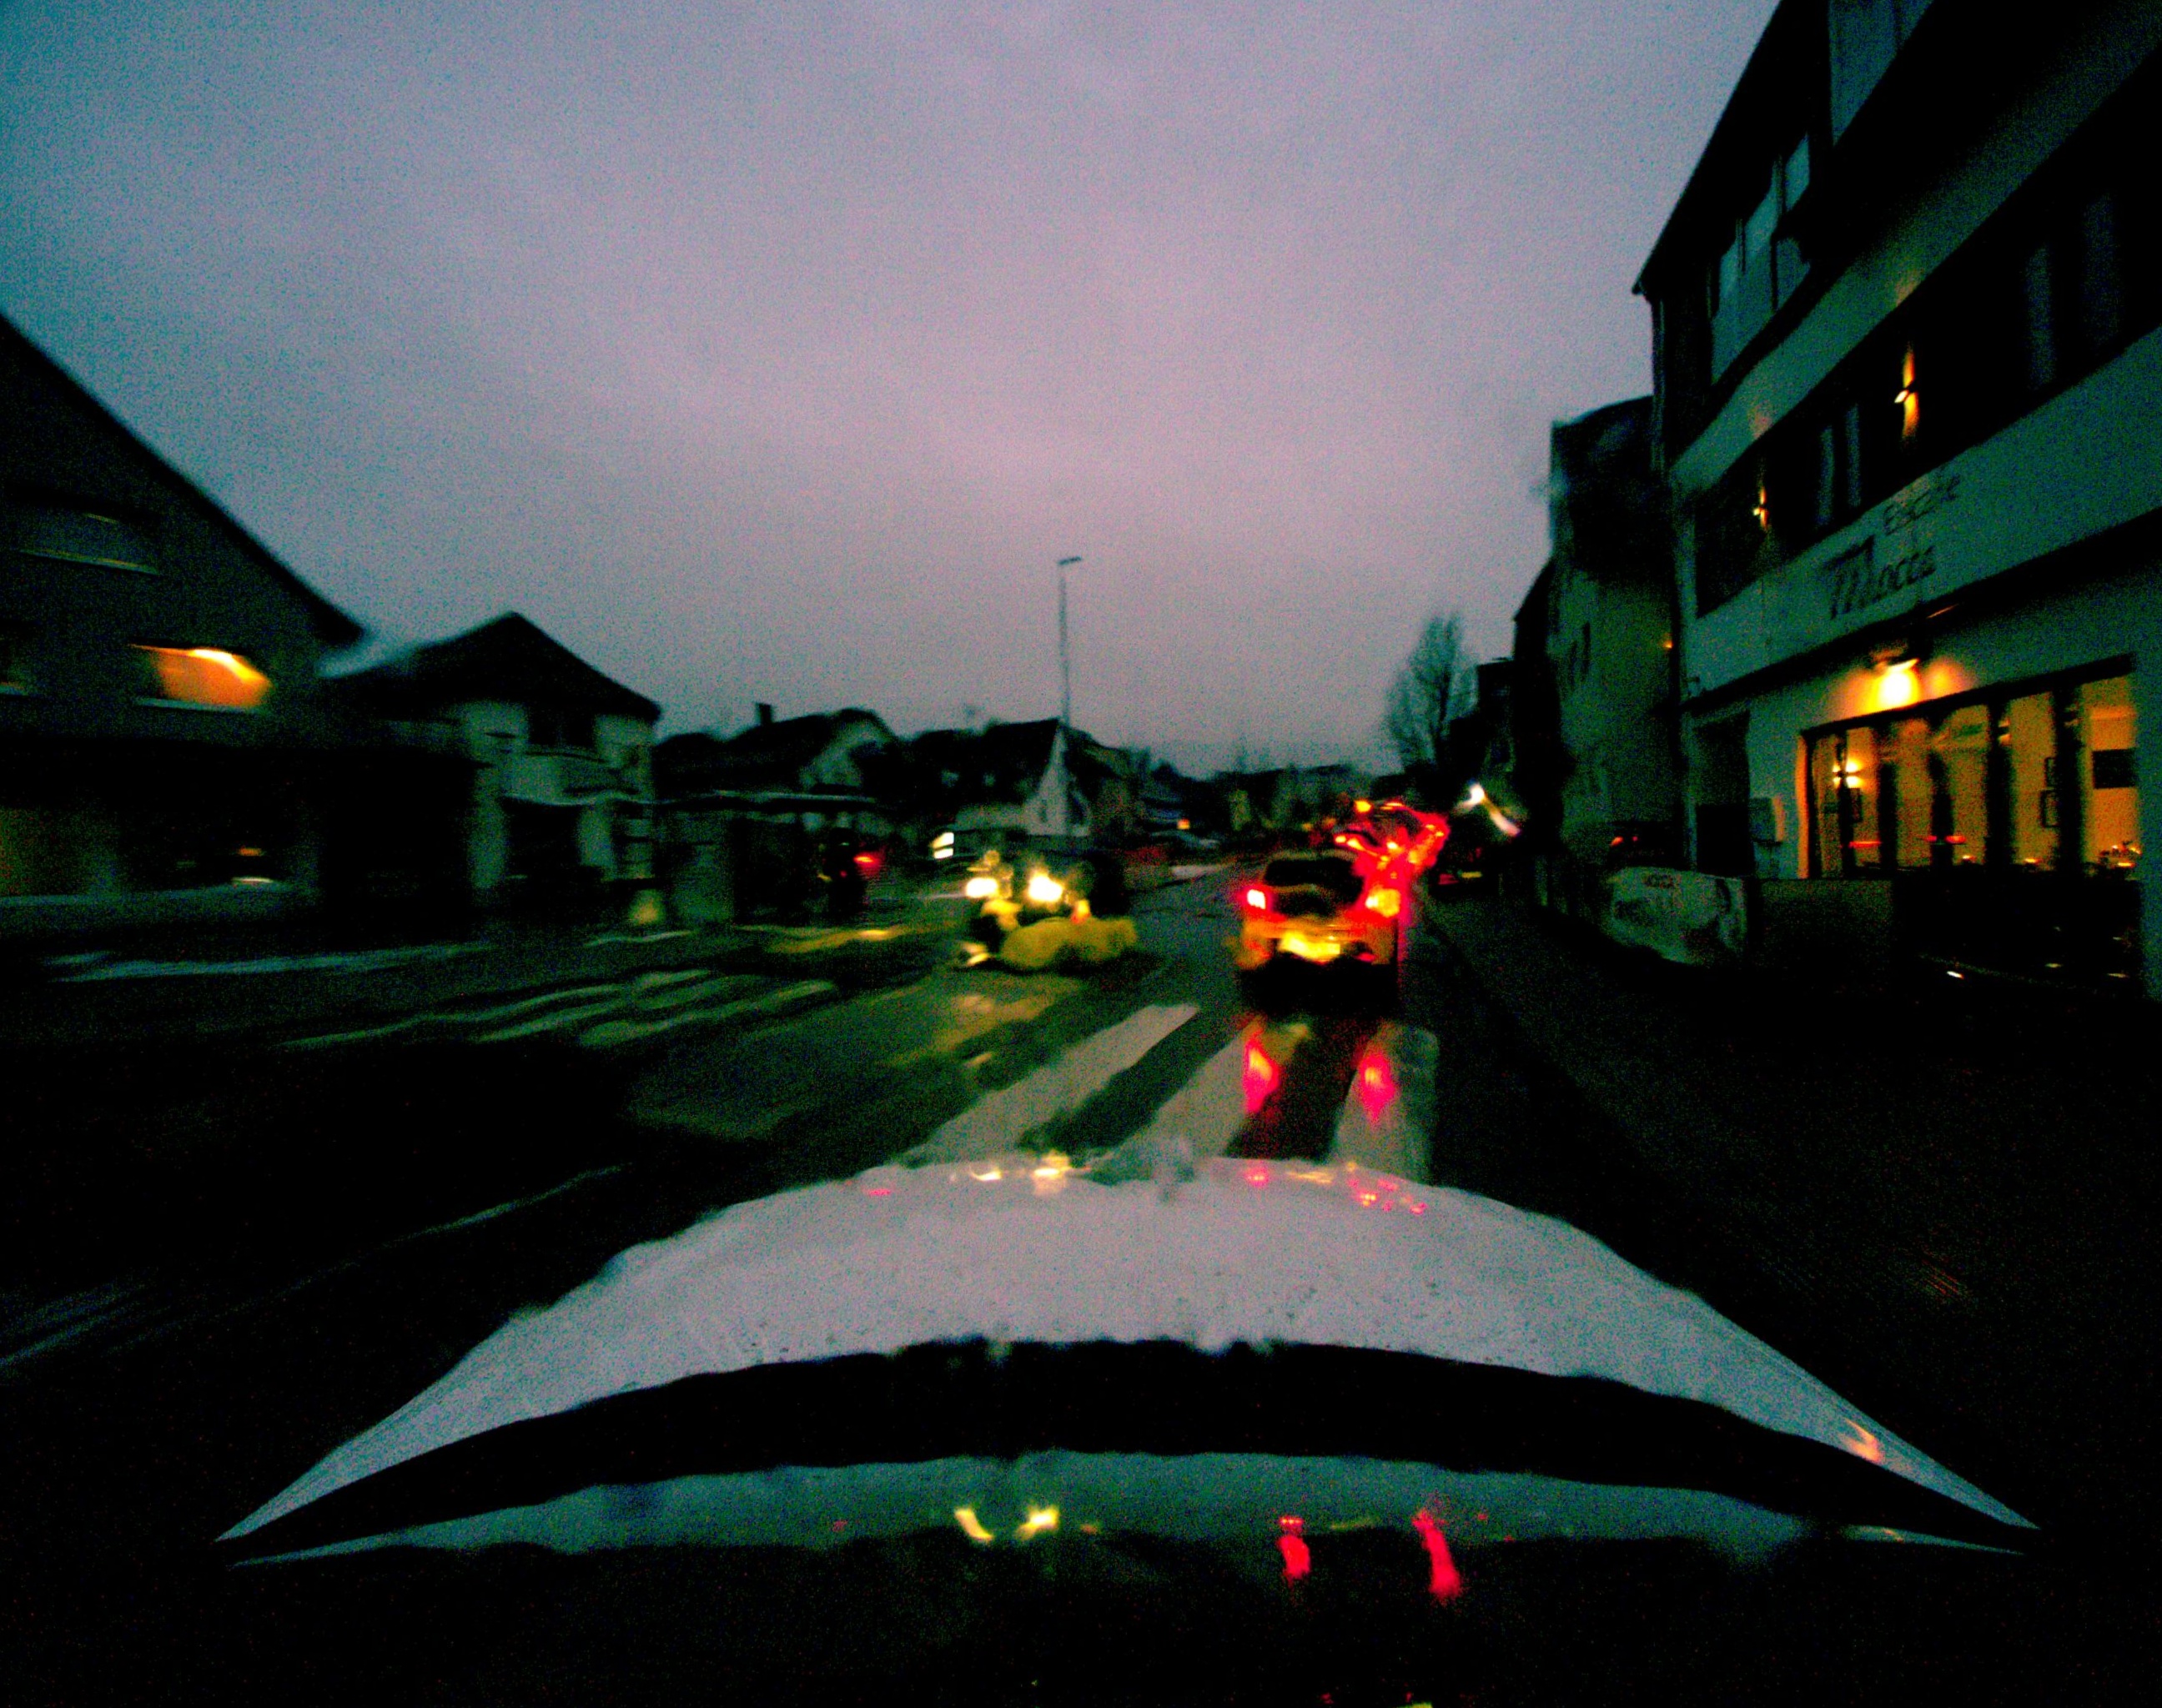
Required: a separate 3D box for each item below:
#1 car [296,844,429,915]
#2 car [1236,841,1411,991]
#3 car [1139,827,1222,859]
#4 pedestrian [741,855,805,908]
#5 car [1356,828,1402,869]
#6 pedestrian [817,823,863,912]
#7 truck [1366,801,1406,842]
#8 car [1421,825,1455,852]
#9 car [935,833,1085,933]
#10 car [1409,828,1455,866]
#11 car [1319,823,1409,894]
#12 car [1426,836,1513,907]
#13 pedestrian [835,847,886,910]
[{"bbox_3d":[-20.436,0.689,23.125,3.948,1.797,1.821,-1,2,34],"label":"car"},{"bbox_3d":[3.037,0.596,10.245,1.696,1.421,4.031,-1,2,17],"label":"car"},{"bbox_3d":[5.582,-0.626,45.453,4.273,1.639,1.855,-1,2,17],"label":"car"},{"bbox_3d":[-6.160,0.541,16.327,0.854,1.010,0.815,-1,1,18],"label":"pedestrian"},{"bbox_3d":[13.441,-0.282,36.620,1.706,1.631,4.023,-1,2,23],"label":"car"},{"bbox_3d":[-5.050,0.277,17.094,0.727,1.817,0.530,-2,1,-2],"label":"pedestrian"},{"bbox_3d":[24.146,-2.570,64.361,2.691,3.010,6.026,-1,2,22],"label":"truck"},{"bbox_3d":[21.156,-0.955,48.361,1.676,1.467,3.739,-1,2,22],"label":"car"},{"bbox_3d":[-1.135,0.421,15.087,1.730,1.568,4.073,-1,2,10],"label":"car"},{"bbox_3d":[14.978,-0.344,34.883,1.676,1.467,3.739,-1,2,22],"label":"car"},{"bbox_3d":[7.418,0.048,21.099,1.899,1.615,3.973,-1,2,23],"label":"car"},{"bbox_3d":[10.012,0.397,21.233,1.795,1.570,3.872,-1,2,22],"label":"car"},{"bbox_3d":[-4.875,0.534,18.023,0.776,1.347,0.720,-1,1,22],"label":"pedestrian"}]
